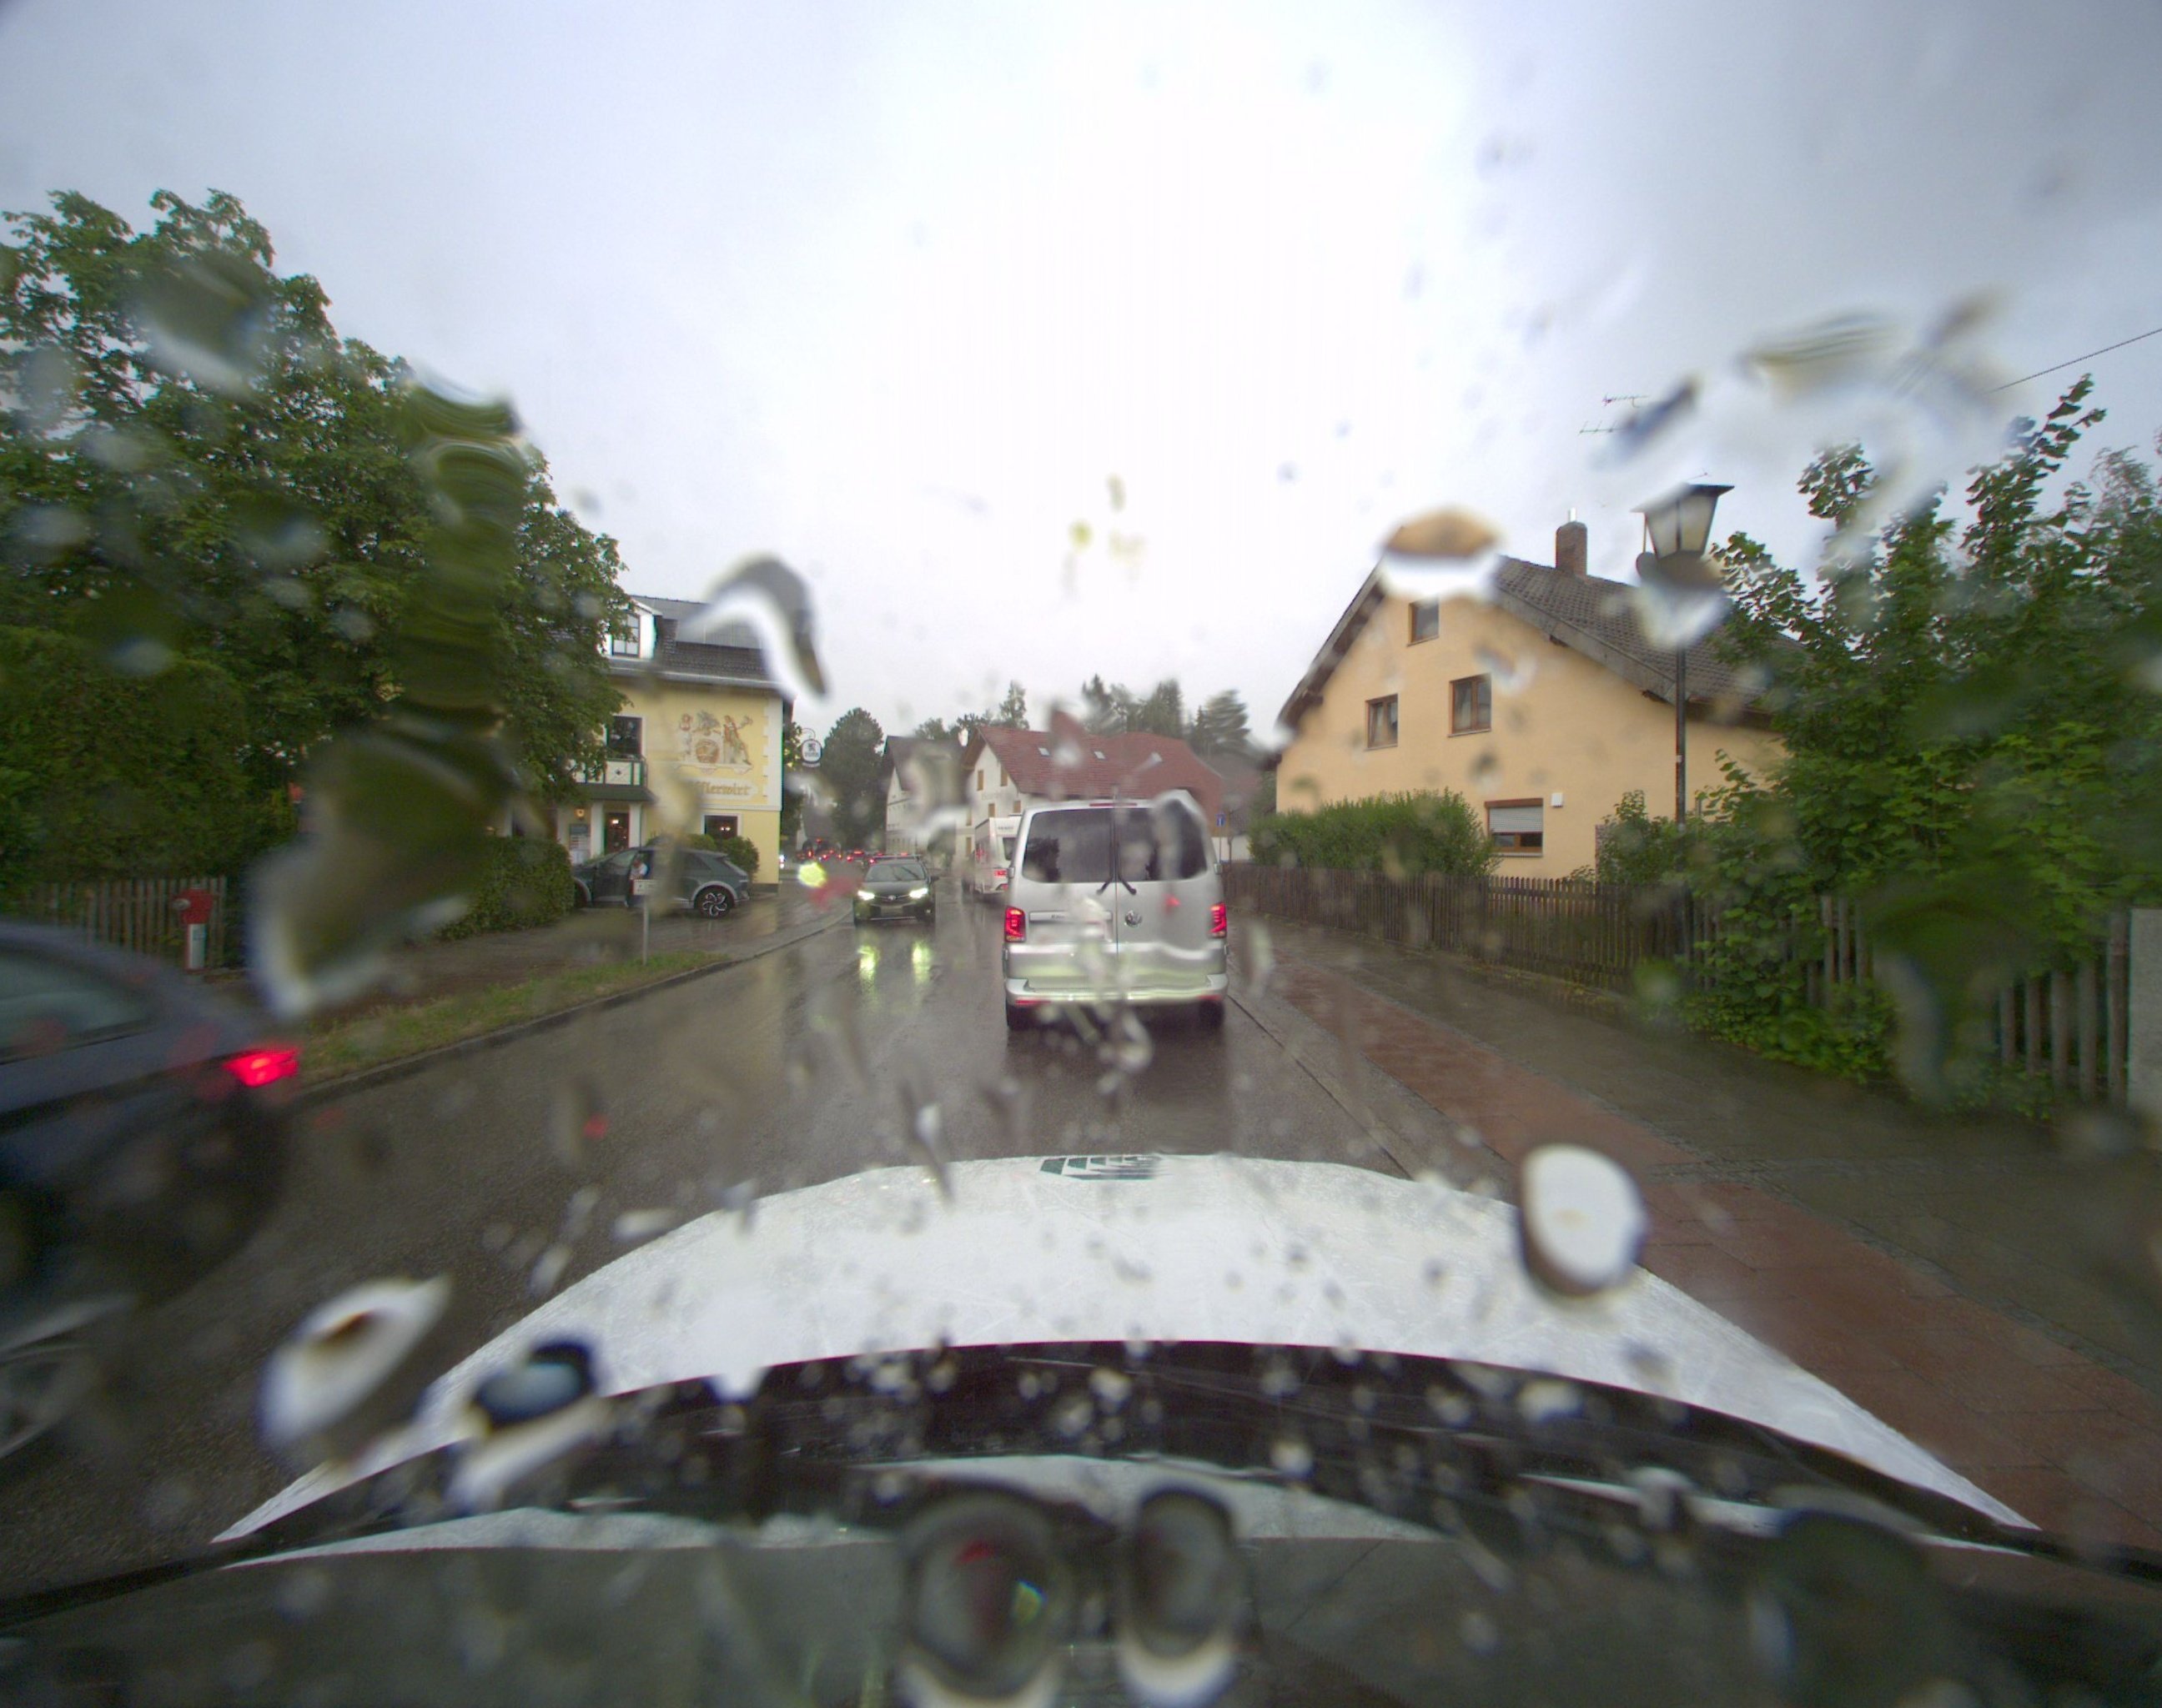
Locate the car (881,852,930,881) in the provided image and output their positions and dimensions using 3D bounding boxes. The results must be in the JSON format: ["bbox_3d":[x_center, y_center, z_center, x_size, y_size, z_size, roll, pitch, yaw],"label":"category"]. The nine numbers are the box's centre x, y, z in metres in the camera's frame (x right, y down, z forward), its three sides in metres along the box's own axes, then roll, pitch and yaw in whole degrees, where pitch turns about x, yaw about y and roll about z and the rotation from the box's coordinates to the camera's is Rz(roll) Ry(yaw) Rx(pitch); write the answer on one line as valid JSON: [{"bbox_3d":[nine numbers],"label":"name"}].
[{"bbox_3d":[-12.009,0.846,55.468,2.179,1.899,4.973,1,-1,-25],"label":"car"}]

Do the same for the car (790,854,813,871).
[{"bbox_3d":[-34.304,0.996,100.003,2.179,1.899,4.974,1,0,-25],"label":"car"}]

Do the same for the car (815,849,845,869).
[{"bbox_3d":[-24.679,0.458,79.966,2.179,1.899,4.974,1,0,-25],"label":"car"}]

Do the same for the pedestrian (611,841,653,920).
[{"bbox_3d":[-9.826,0.578,17.841,0.489,1.690,0.554,3,-1,1],"label":"pedestrian"}]

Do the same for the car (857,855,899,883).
[{"bbox_3d":[-15.231,1.086,61.014,2.179,1.899,4.974,1,0,-25],"label":"car"}]

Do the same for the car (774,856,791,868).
[{"bbox_3d":[-50.606,1.302,137.987,2.179,1.899,4.974,1,0,-25],"label":"car"}]

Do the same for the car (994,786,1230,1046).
[{"bbox_3d":[0.330,0.476,8.770,1.769,1.962,5.077,-1,0,2],"label":"car"}]

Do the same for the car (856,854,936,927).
[{"bbox_3d":[-4.378,0.784,19.481,1.639,1.520,4.171,-1,0,-12],"label":"car"}]

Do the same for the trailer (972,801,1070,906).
[{"bbox_3d":[-2.050,-0.019,25.636,2.272,2.904,6.107,-1,0,-12],"label":"trailer"}]

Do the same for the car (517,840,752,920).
[{"bbox_3d":[-10.158,0.610,18.882,4.499,1.567,1.824,4,1,-27],"label":"car"}]

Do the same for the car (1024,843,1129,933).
[{"bbox_3d":[-0.239,0.598,17.357,1.706,1.584,4.675,-2,1,-6],"label":"car"}]

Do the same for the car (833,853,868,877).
[{"bbox_3d":[-19.748,0.886,69.579,2.179,1.899,4.974,1,0,-25],"label":"car"}]

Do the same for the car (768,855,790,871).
[{"bbox_3d":[-34.307,1.041,92.547,1.932,1.744,4.157,-1,0,-25],"label":"car"}]

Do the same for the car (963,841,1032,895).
[{"bbox_3d":[-3.299,0.491,31.124,2.055,1.899,5.154,-1,0,-12],"label":"car"}]

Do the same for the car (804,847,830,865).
[{"bbox_3d":[-29.369,0.219,90.369,2.179,1.899,4.974,1,0,-25],"label":"car"}]

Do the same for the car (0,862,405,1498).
[{"bbox_3d":[-3.428,0.756,0.806,1.774,1.465,4.375,1,0,1],"label":"car"}]
